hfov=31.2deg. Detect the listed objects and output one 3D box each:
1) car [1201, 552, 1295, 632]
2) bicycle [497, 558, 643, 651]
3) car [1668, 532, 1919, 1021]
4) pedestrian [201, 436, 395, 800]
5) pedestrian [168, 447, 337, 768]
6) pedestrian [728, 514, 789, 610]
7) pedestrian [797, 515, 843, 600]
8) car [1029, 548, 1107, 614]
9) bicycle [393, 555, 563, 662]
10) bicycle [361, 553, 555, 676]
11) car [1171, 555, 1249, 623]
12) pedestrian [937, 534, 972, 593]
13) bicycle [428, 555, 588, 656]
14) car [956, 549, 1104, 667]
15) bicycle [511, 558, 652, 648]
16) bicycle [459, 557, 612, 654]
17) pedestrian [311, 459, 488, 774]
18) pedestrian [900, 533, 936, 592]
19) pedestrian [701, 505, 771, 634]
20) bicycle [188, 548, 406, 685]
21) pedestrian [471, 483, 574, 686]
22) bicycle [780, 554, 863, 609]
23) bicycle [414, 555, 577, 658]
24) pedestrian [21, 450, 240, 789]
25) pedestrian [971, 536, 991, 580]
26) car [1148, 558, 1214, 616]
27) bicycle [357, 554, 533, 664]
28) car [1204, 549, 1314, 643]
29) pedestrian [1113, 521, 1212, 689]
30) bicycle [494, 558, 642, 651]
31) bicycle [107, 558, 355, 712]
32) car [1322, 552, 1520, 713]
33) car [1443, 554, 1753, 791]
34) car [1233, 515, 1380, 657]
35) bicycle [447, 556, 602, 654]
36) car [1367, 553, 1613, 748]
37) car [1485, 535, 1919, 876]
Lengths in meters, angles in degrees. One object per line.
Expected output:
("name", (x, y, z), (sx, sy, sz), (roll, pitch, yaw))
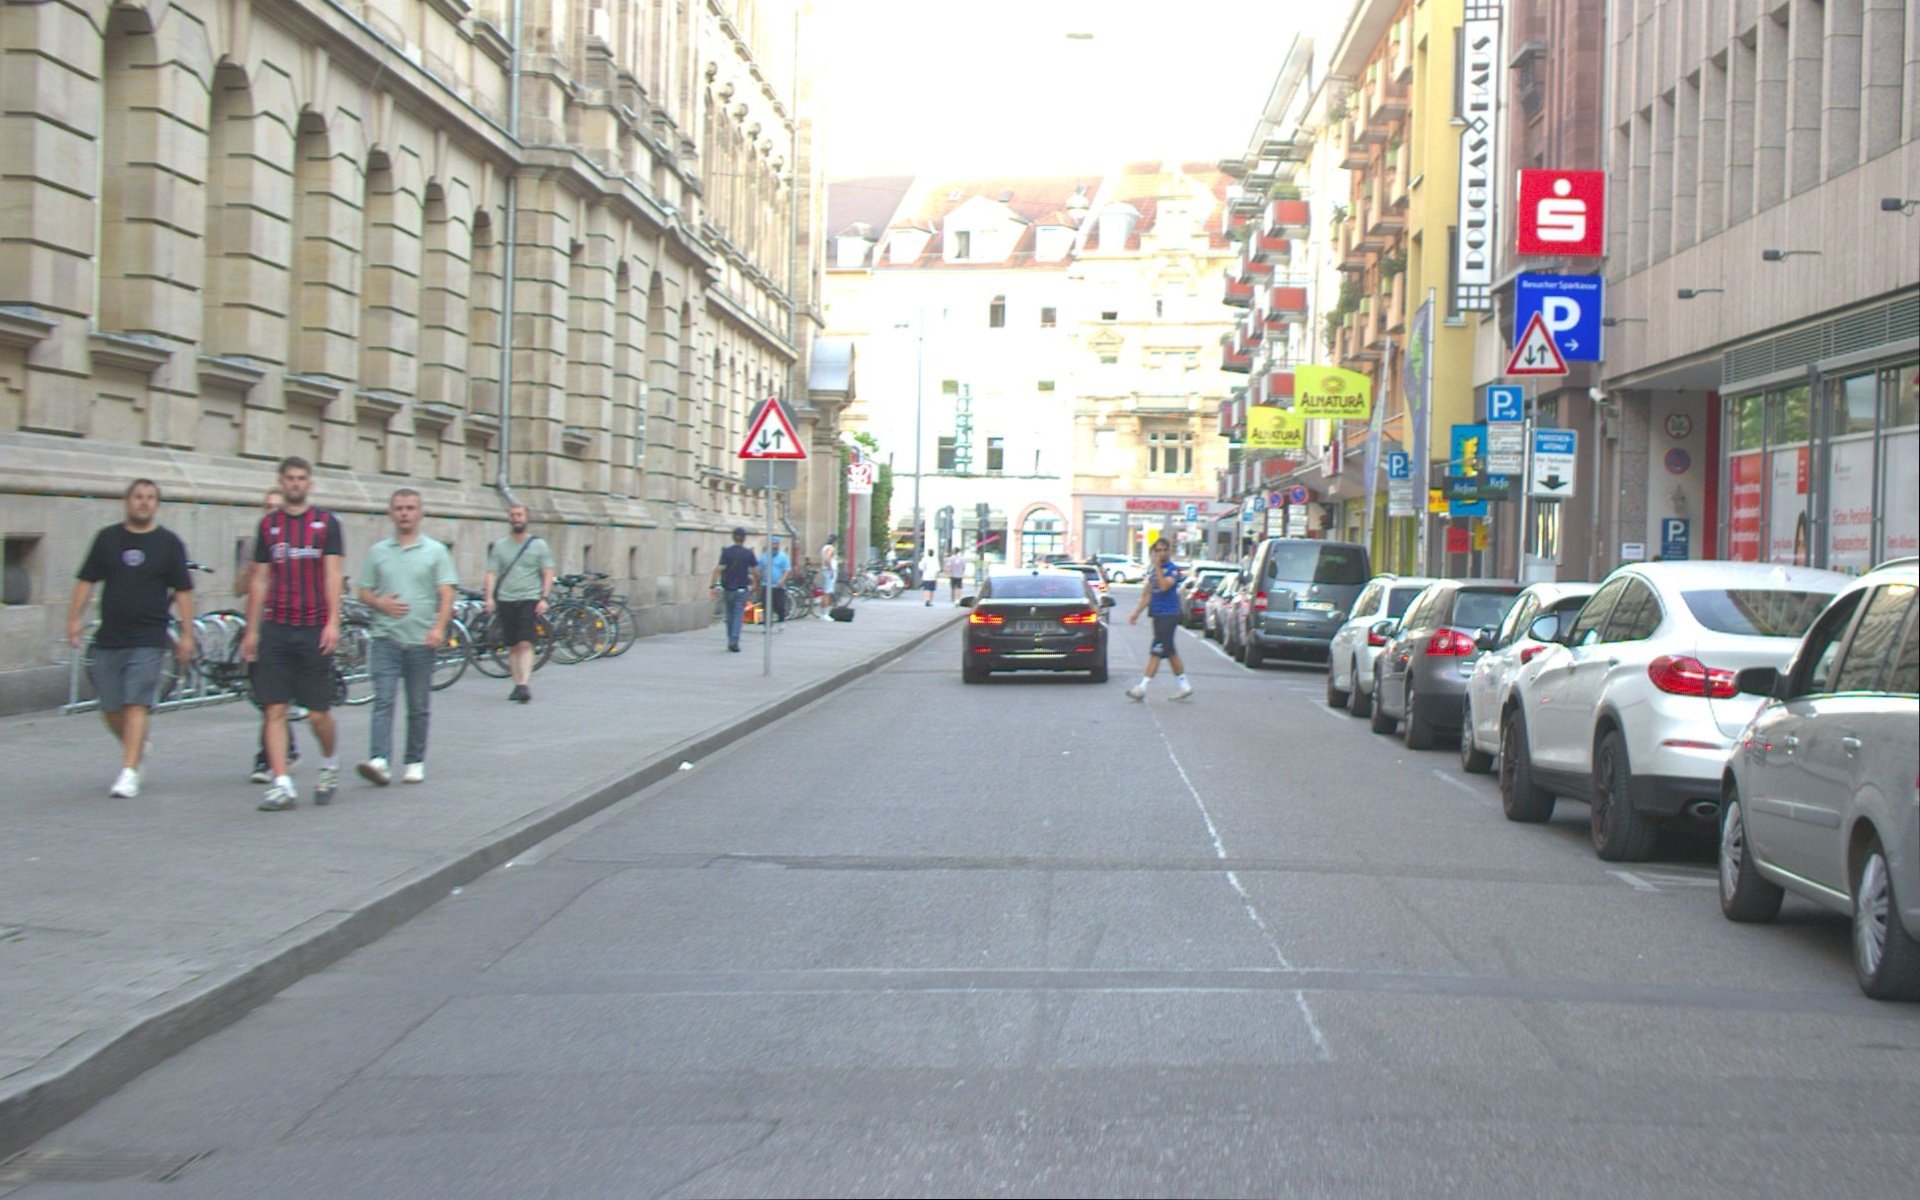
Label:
("car", (5.920, -0.190, 70.916), (1.644, 1.518, 3.284), (3, 1, 1))
("bicycle", (-4.765, 0.047, 42.072), (1.679, 1.038, 0.487), (3, 1, 1))
("car", (4.094, 0.604, 13.479), (1.770, 1.630, 4.052), (3, 1, 1))
("pedestrian", (-3.456, 0.086, 18.022), (0.697, 1.806, 0.975), (5, 1, -1))
("pedestrian", (-4.021, 0.035, 19.590), (0.689, 1.746, 0.722), (5, 1, -1))
("pedestrian", (-3.570, -0.675, 60.934), (0.933, 1.631, 0.654), (5, 1, -1))
("pedestrian", (-2.977, -0.904, 73.211), (0.807, 1.746, 0.936), (5, 1, 1))
("car", (2.616, -0.482, 84.345), (1.794, 1.505, 4.000), (2, 1, 1))
("bicycle", (-5.112, 0.082, 36.487), (1.679, 1.038, 0.487), (3, 1, 1))
("bicycle", (-4.638, 0.126, 31.809), (1.679, 1.038, 0.487), (3, 1, 1))
("car", (6.021, -0.275, 83.071), (1.644, 1.518, 3.284), (3, 1, 1))
("pedestrian", (-0.170, -1.117, 106.095), (0.933, 1.746, 0.810), (5, 1, -1))
("bicycle", (-5.064, 0.061, 38.590), (1.679, 1.038, 0.487), (3, 1, 1))
("car", (0.877, 0.073, 43.436), (1.770, 1.404, 4.052), (0, 1, 1))
("bicycle", (-4.768, 0.038, 43.359), (1.679, 1.038, 0.487), (3, 1, 1))
("bicycle", (-4.965, 0.057, 40.281), (1.679, 1.038, 0.487), (3, 1, 1))
("pedestrian", (-3.253, 0.089, 20.021), (0.786, 1.746, 0.722), (5, 1, -1))
("pedestrian", (-1.292, -1.145, 105.597), (0.933, 1.746, 0.810), (5, 1, -1))
("pedestrian", (-3.155, -0.432, 48.505), (0.804, 1.746, 0.810), (5, 1, -1))
("bicycle", (-5.456, 0.135, 28.295), (1.679, 1.038, 0.487), (3, 1, -15))
("pedestrian", (-3.918, -0.140, 30.827), (0.718, 1.746, 0.669), (5, 1, -1))
("bicycle", (-2.983, -0.400, 74.152), (1.679, 1.037, 0.487), (5, 1, 3))
("bicycle", (-5.114, 0.065, 37.923), (1.679, 1.038, 0.487), (3, 1, 1))
("pedestrian", (-4.331, 0.092, 18.012), (0.797, 1.669, 0.975), (5, 1, -1))
("pedestrian", (0.843, -1.706, 140.480), (0.665, 1.746, 0.681), (5, 1, -1))
("car", (6.244, -0.394, 97.390), (1.644, 1.518, 3.284), (3, 1, 1))
("bicycle", (-5.268, 0.088, 35.222), (1.679, 1.038, 0.487), (3, 1, 1))
("car", (5.223, -0.089, 60.446), (1.644, 1.518, 3.284), (3, 1, 1))
("pedestrian", (2.172, 0.049, 36.967), (0.820, 1.785, 0.727), (1, 1, -18))
("bicycle", (-4.736, 0.051, 41.607), (1.679, 1.038, 0.487), (3, 1, 1))
("bicycle", (-5.395, 0.249, 25.460), (1.680, 1.038, 0.487), (3, 1, 7))
("car", (4.812, 0.304, 36.232), (1.644, 1.518, 3.284), (3, 1, 1))
("car", (4.588, 0.474, 25.137), (1.644, 1.518, 3.284), (3, 1, 1))
("car", (5.286, -0.238, 52.855), (1.870, 2.011, 3.765), (3, 1, 1))
("bicycle", (-5.038, 0.058, 39.828), (1.679, 1.038, 0.487), (3, 1, 1))
("car", (4.584, 0.392, 30.141), (1.644, 1.518, 3.284), (3, 1, 1))
("car", (4.227, 0.500, 19.256), (1.769, 1.630, 4.091), (3, 1, -1))
